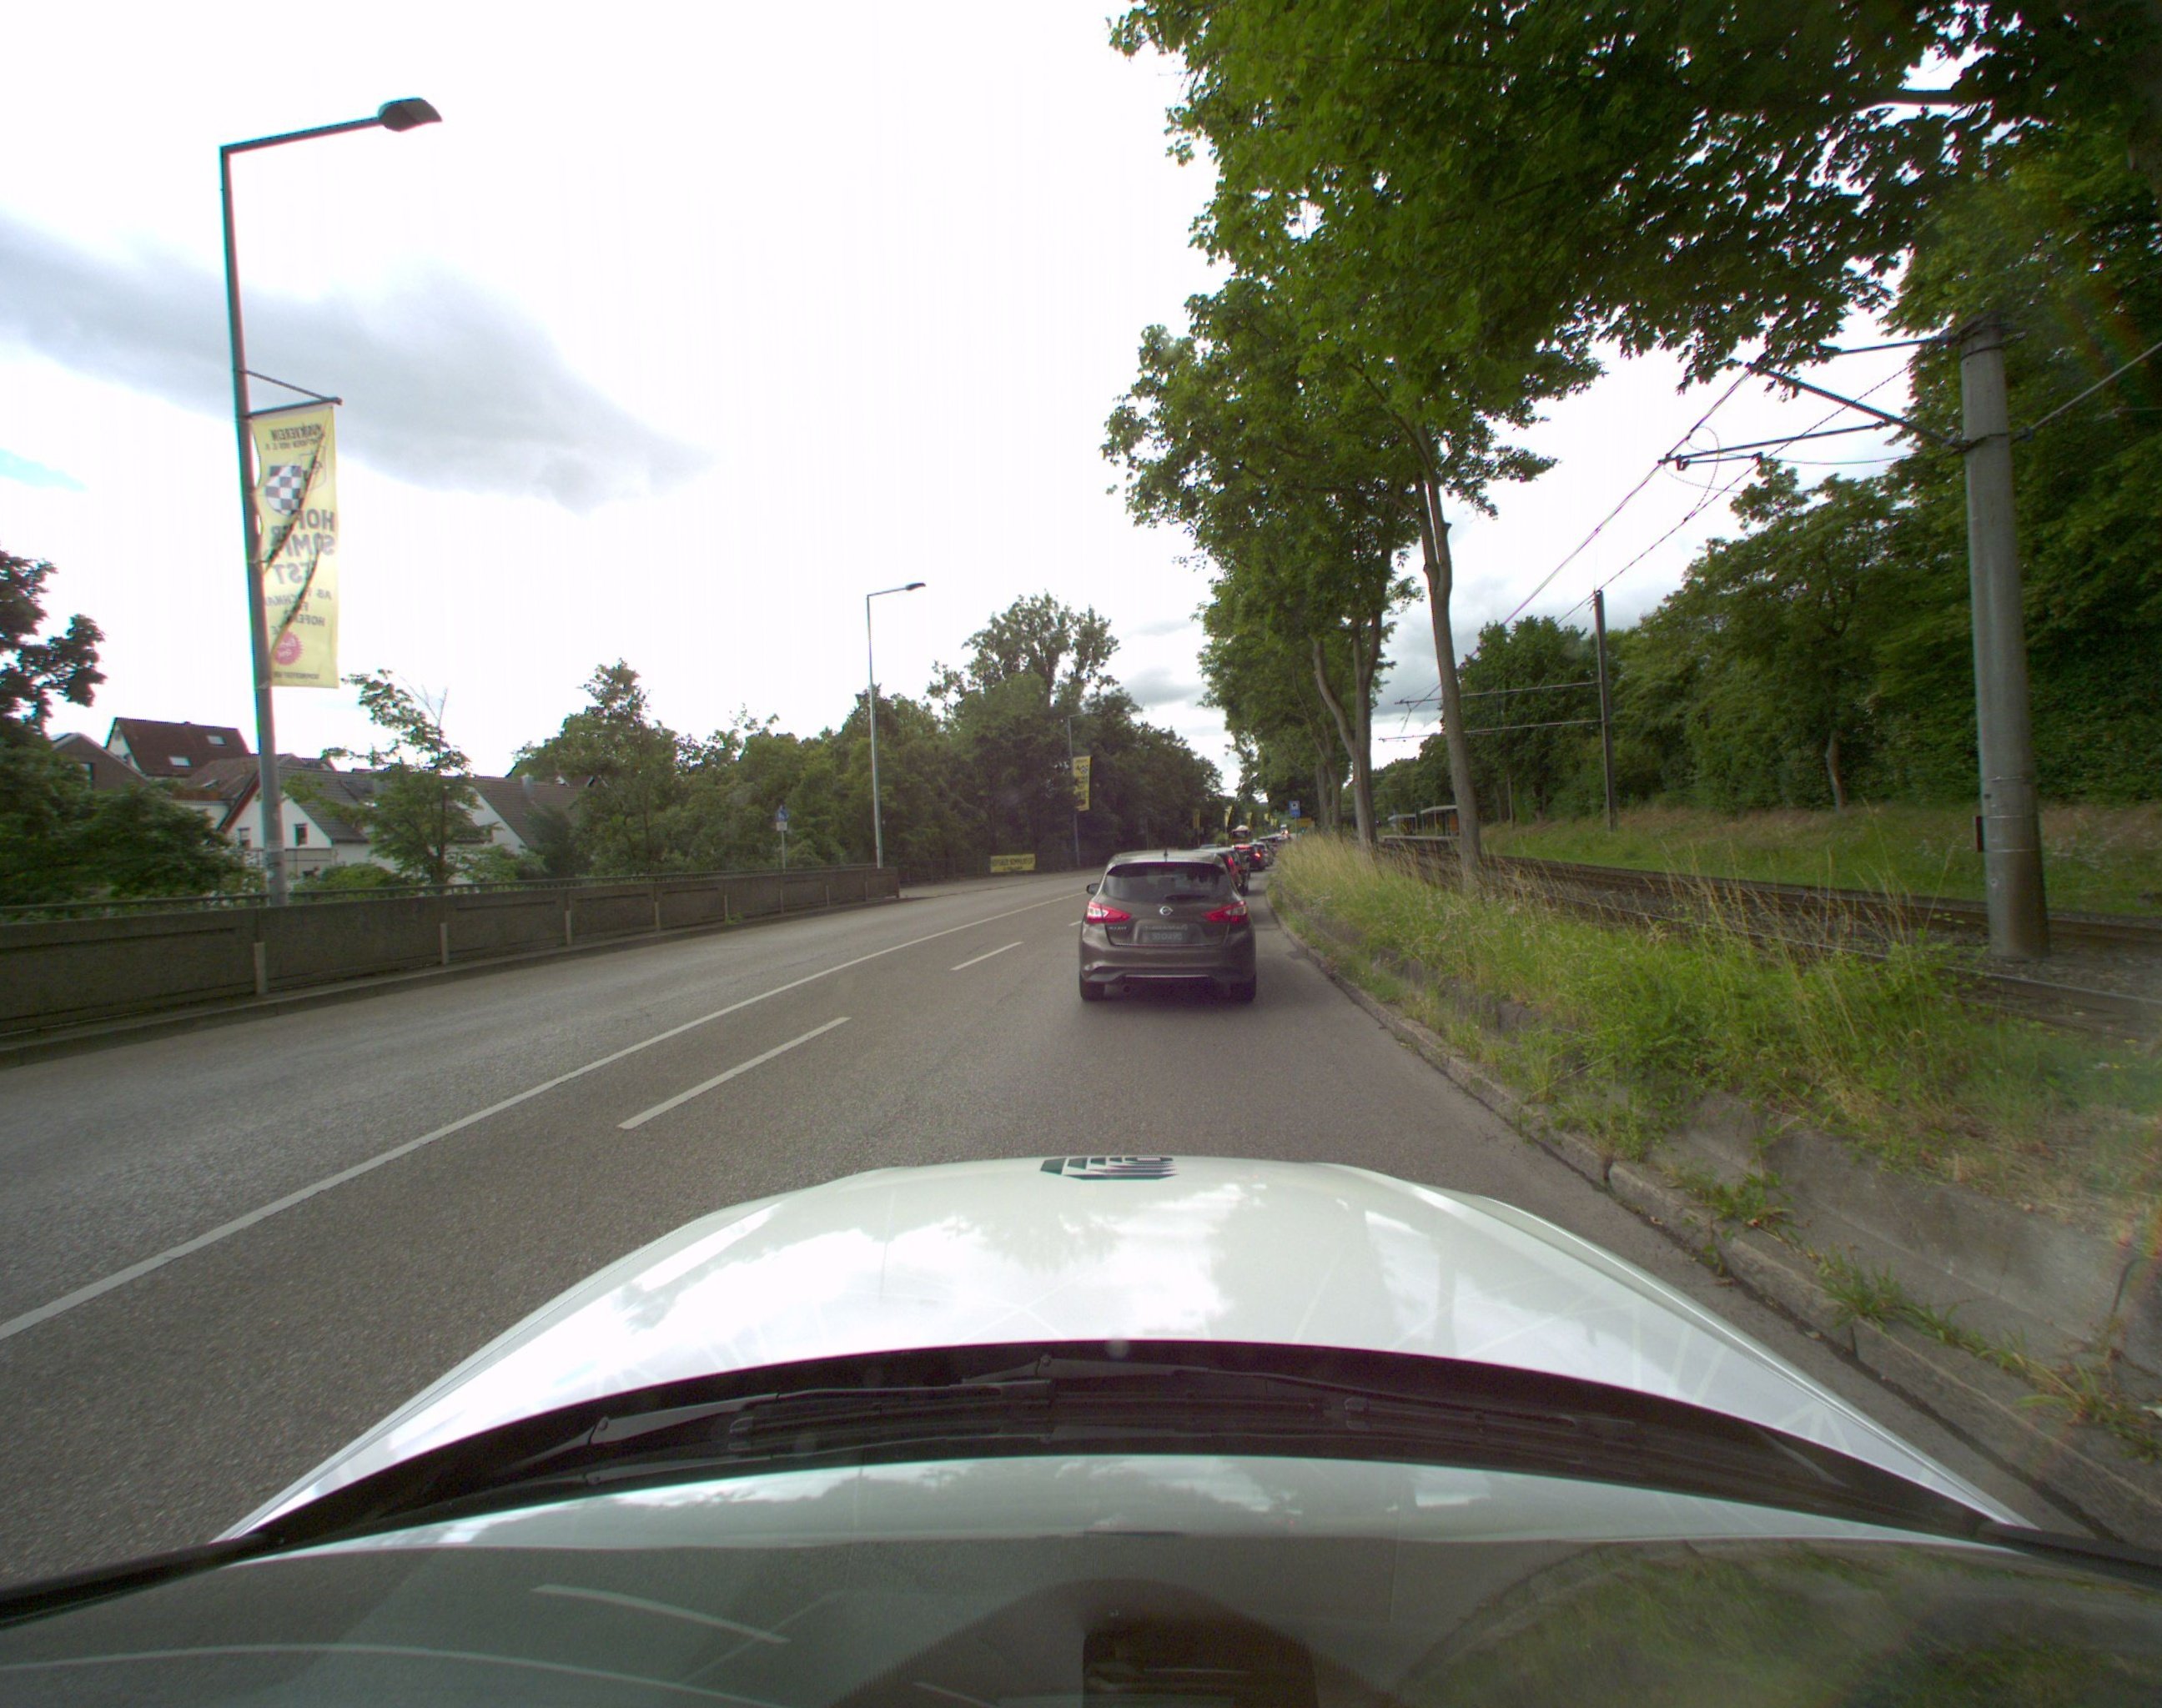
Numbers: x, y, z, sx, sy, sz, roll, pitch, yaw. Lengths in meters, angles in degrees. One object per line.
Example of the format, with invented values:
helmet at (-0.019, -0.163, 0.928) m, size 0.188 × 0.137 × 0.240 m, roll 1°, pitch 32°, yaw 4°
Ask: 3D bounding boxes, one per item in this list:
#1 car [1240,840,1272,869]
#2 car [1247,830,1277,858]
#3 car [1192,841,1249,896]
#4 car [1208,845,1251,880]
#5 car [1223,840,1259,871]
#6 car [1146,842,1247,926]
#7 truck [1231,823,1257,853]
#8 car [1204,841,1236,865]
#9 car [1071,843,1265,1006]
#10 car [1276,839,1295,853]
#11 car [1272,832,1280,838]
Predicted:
car at (11.071, 0.066, 51.268) m, size 1.706 × 1.693 × 4.015 m, roll -3°, pitch -2°, yaw 15°
car at (13.713, -0.765, 61.505) m, size 1.876 × 2.013 × 4.017 m, roll -2°, pitch 0°, yaw 16°
car at (4.490, 0.438, 25.806) m, size 1.567 × 1.538 × 4.013 m, roll -3°, pitch -1°, yaw 12°
car at (6.509, 0.345, 35.506) m, size 1.489 × 1.364 × 3.602 m, roll -3°, pitch -1°, yaw 15°
car at (8.519, 0.084, 43.271) m, size 1.792 × 1.540 × 4.013 m, roll -1°, pitch 0°, yaw 12°
car at (2.515, 0.599, 17.705) m, size 1.882 × 1.574 × 4.009 m, roll -2°, pitch -1°, yaw 8°
truck at (23.384, -2.270, 116.676) m, size 2.634 × 3.938 × 10.156 m, roll -2°, pitch 0°, yaw 17°
car at (9.528, -0.047, 55.725) m, size 1.839 × 1.486 × 4.436 m, roll -3°, pitch -1°, yaw 13°
car at (1.051, 0.678, 9.560) m, size 1.765 × 1.494 × 4.008 m, roll -1°, pitch -1°, yaw 7°
car at (22.593, -0.918, 89.888) m, size 1.876 × 1.445 × 3.823 m, roll -2°, pitch 0°, yaw 16°
car at (51.372, -4.969, 214.432) m, size 1.739 × 1.420 × 4.015 m, roll -3°, pitch -2°, yaw 14°
